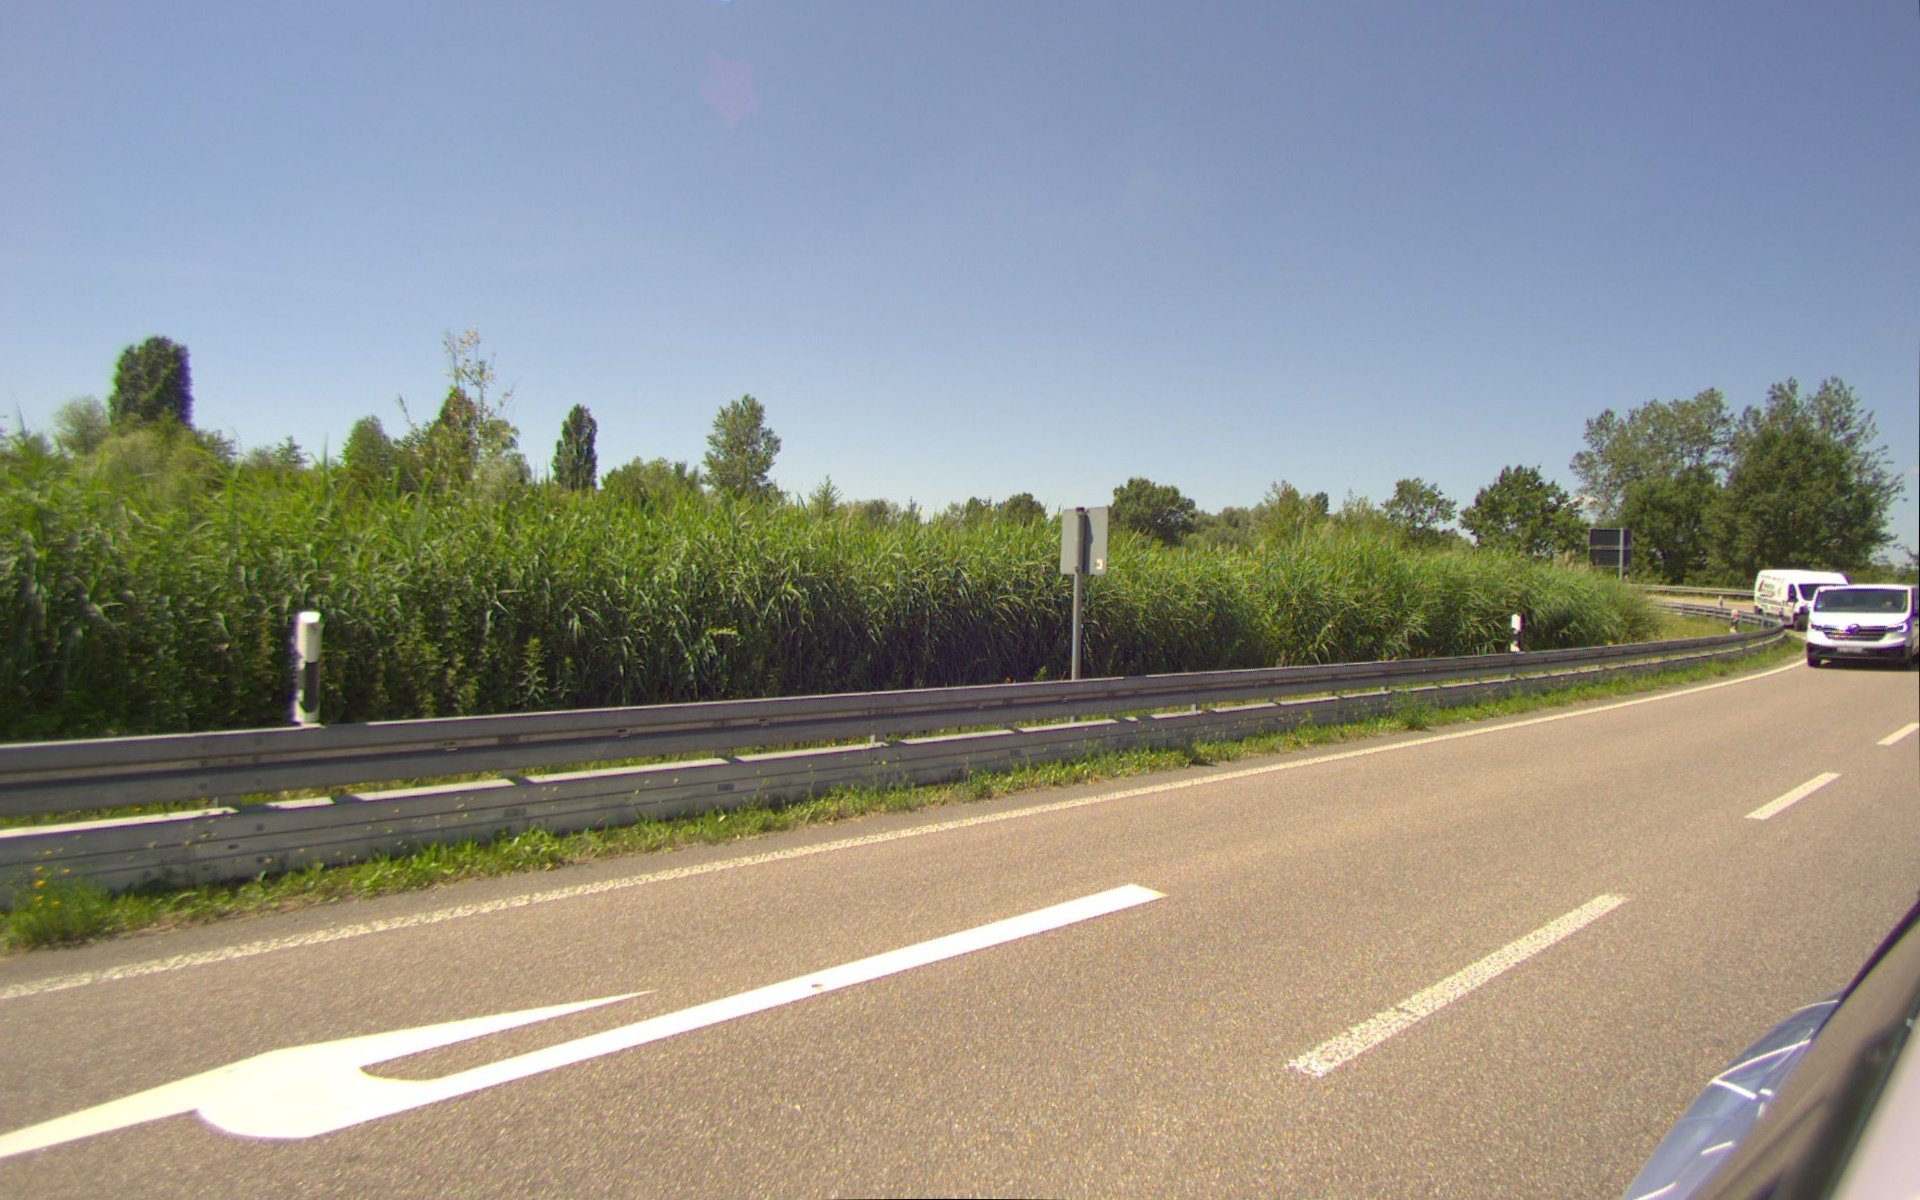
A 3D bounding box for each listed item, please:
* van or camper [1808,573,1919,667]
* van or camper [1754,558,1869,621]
[{"bbox_3d":[22.431,0.420,24.588,5.353,2.057,2.007,0,0,-41],"label":"van or camper"},{"bbox_3d":[37.236,-0.526,44.470,2.051,2.586,6.003,0,2,22],"label":"van or camper"}]
